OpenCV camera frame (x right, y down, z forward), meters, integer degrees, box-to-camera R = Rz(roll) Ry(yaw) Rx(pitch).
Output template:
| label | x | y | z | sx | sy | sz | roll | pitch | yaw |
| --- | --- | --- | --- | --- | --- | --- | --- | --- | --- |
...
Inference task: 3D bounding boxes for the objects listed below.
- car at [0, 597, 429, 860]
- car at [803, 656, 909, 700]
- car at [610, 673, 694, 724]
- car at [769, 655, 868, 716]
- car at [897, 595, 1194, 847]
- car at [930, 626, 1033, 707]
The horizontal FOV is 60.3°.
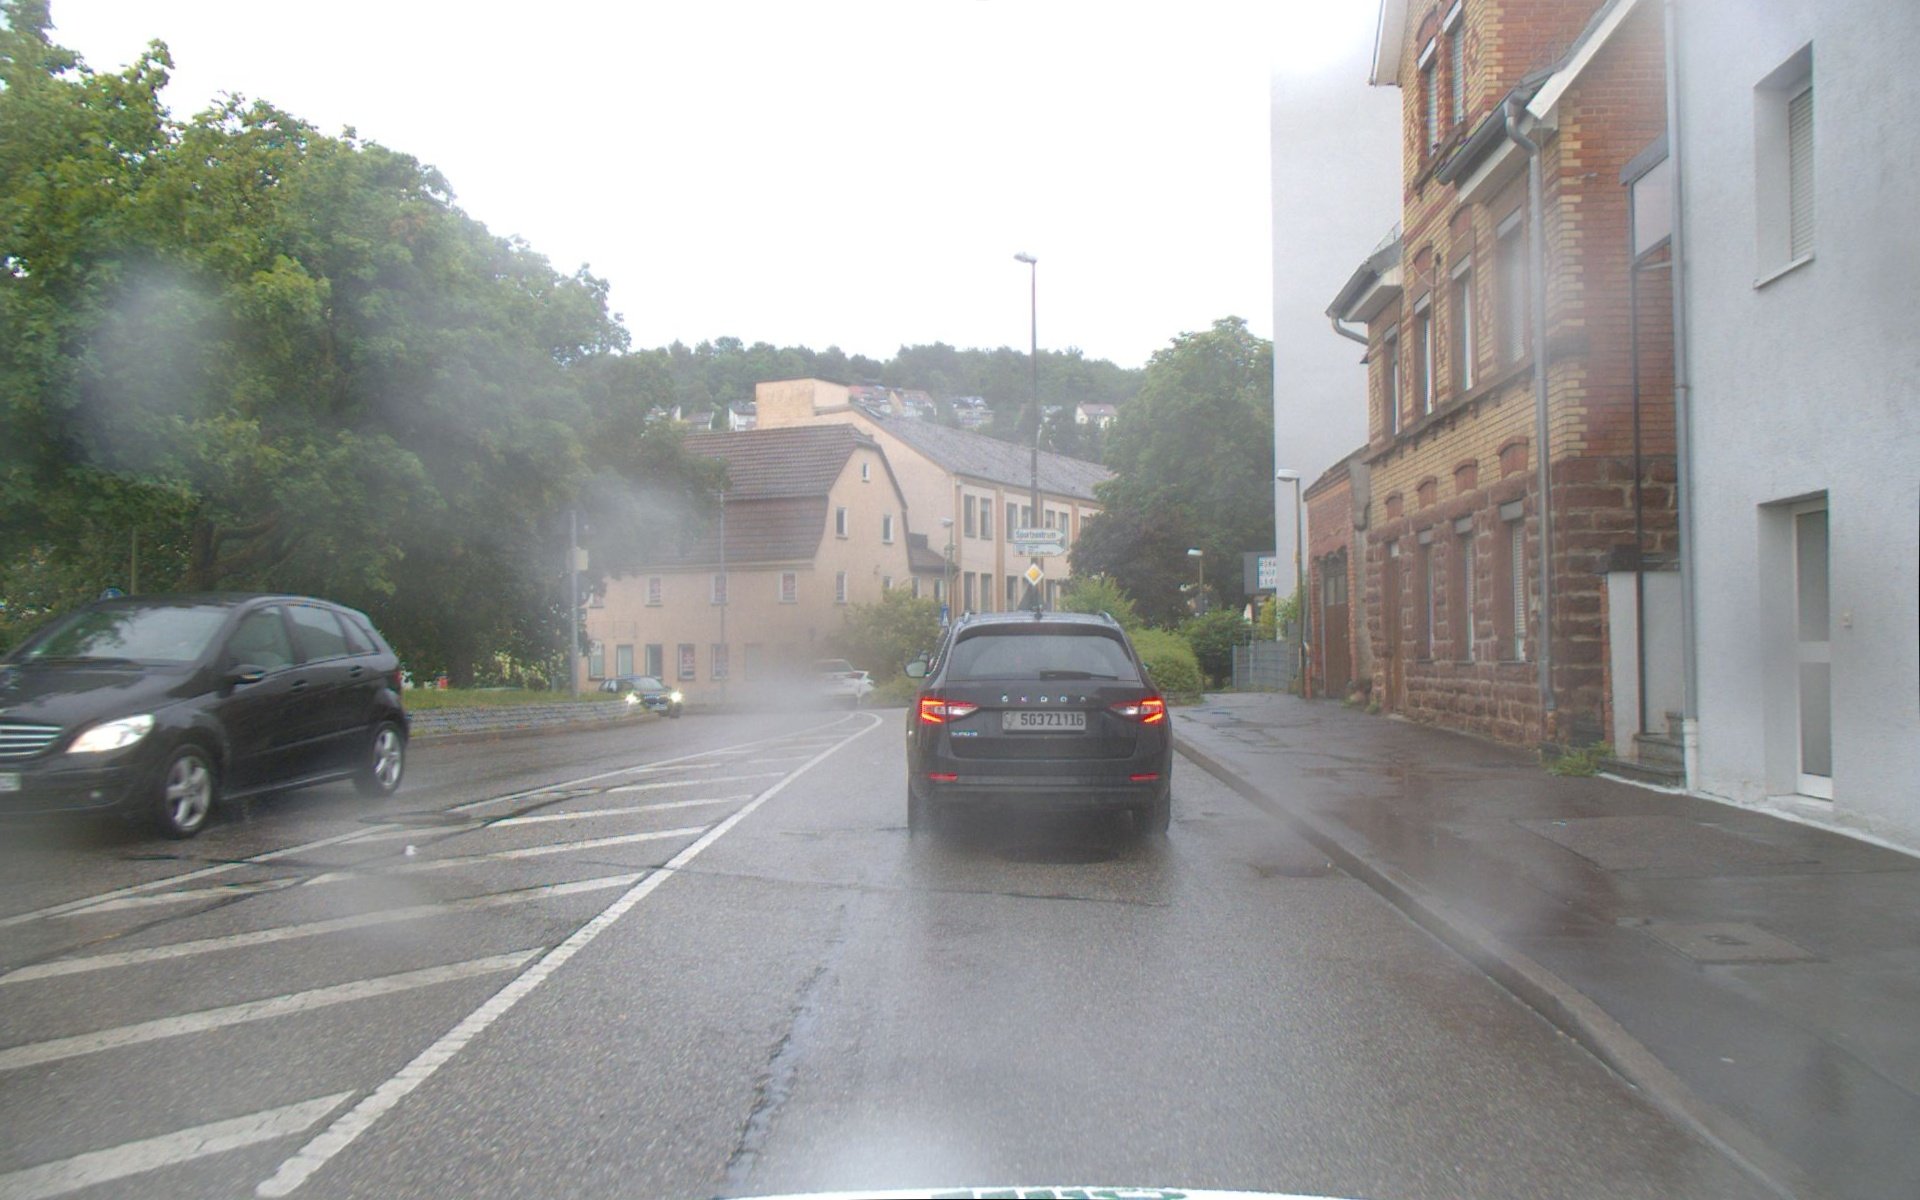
| label | x | y | z | sx | sy | sz | roll | pitch | yaw |
| --- | --- | --- | --- | --- | --- | --- | --- | --- | --- |
| car | -5.469 | 0.765 | 11.844 | 1.605 | 1.547 | 4.073 | 0 | 0 | 7 |
| car | -4.042 | 3.011 | 64.111 | 3.704 | 1.478 | 1.698 | -2 | -3 | -26 |
| car | -9.347 | 2.960 | 50.005 | 1.712 | 1.435 | 4.026 | 0 | -3 | -22 |
| car | -4.048 | 2.441 | 46.794 | 1.703 | 1.619 | 4.157 | 3 | -4 | -21 |
| car | 0.446 | 0.798 | 12.269 | 1.746 | 1.509 | 4.242 | -1 | -2 | -3 |
| car | 0.392 | 1.223 | 30.755 | 1.780 | 1.383 | 3.989 | -1 | -2 | 0 |
